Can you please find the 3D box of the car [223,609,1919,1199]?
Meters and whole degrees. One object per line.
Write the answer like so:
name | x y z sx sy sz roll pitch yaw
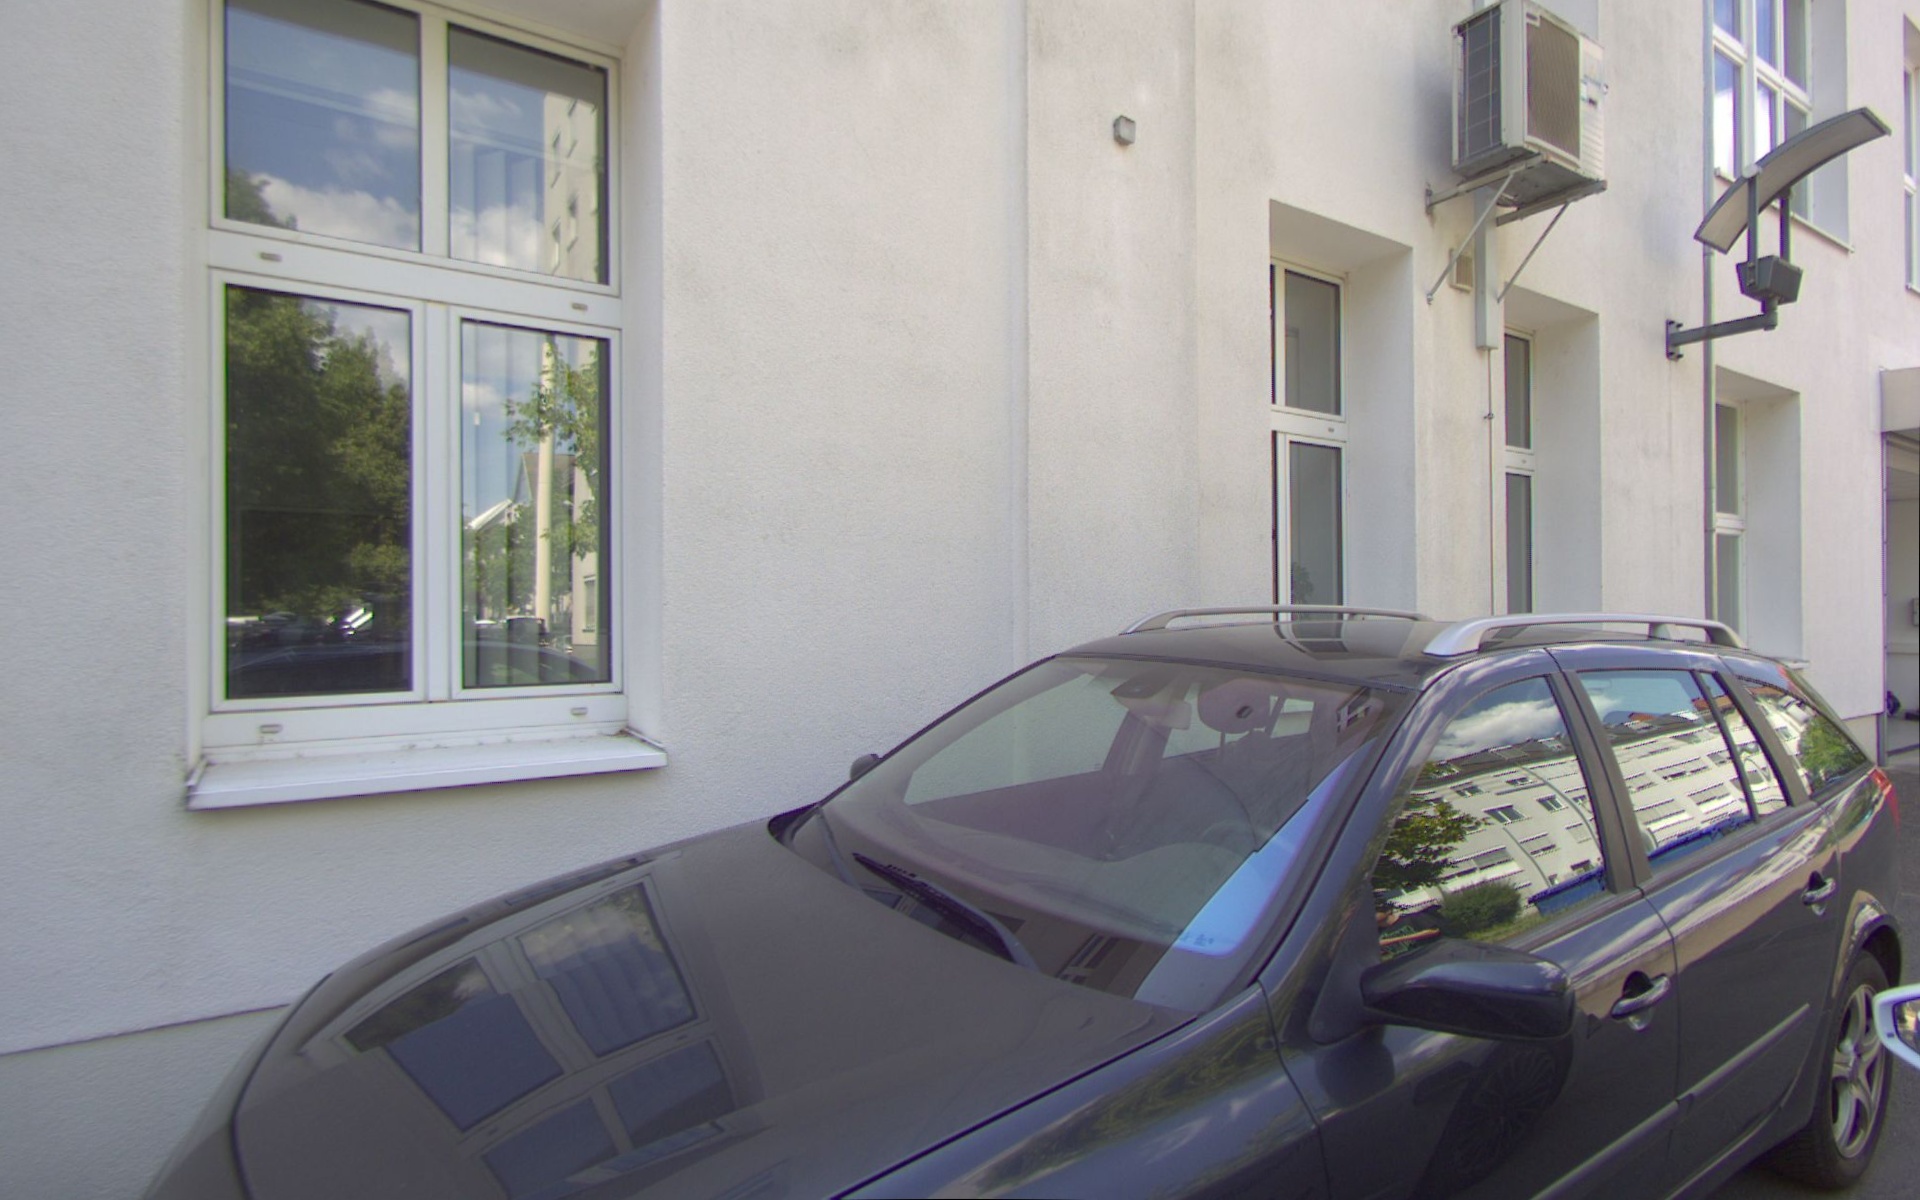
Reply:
car | 0.867 0.778 2.601 4.338 1.449 1.745 0 -1 -33

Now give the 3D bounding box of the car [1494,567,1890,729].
car | 10.794 0.620 15.176 1.959 2.052 4.455 0 0 -32
